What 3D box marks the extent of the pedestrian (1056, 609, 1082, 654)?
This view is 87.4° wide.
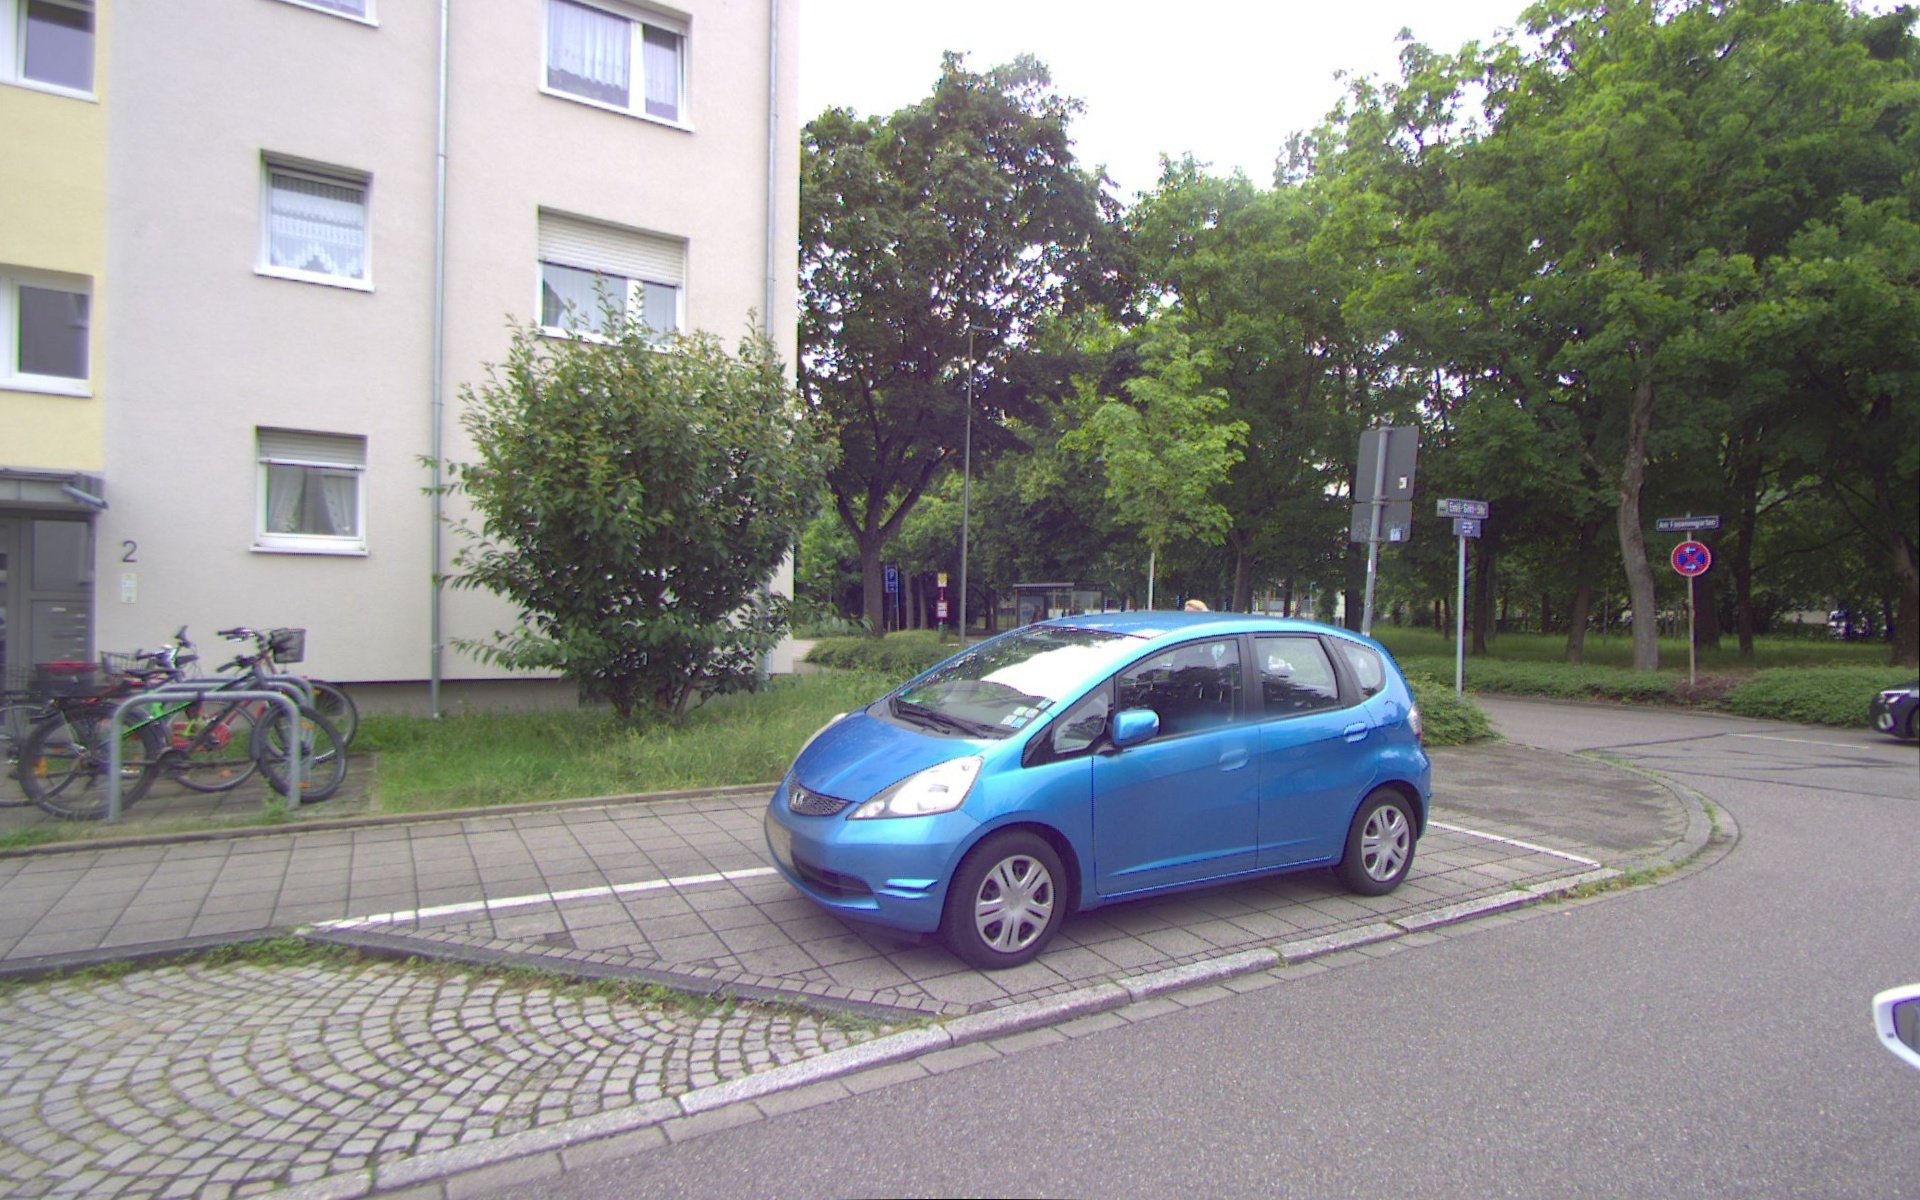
[{"bbox_3d":[3.977,1.133,36.685,0.648,1.604,0.693,0,0,-29],"label":"pedestrian"}]

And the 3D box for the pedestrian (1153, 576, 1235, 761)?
[{"bbox_3d":[2.042,0.580,8.805,0.556,1.571,0.448,1,2,-2],"label":"pedestrian"}]

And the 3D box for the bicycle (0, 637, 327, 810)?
[{"bbox_3d":[-5.754,0.820,7.081,2.149,1.085,0.654,1,0,-30],"label":"bicycle"}]

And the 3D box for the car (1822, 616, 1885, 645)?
[{"bbox_3d":[52.608,1.815,59.133,3.959,1.639,1.905,1,-1,-34],"label":"car"}]

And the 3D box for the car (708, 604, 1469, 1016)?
[{"bbox_3d":[0.803,0.826,5.520,3.911,1.482,1.721,1,2,-31],"label":"car"}]

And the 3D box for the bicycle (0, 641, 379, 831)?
[{"bbox_3d":[-5.050,0.829,6.619,2.097,1.082,0.654,1,0,-30],"label":"bicycle"}]

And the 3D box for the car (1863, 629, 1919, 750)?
[{"bbox_3d":[13.523,1.131,11.743,1.849,1.482,4.081,1,-1,-31],"label":"car"}]

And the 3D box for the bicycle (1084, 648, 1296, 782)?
[{"bbox_3d":[2.044,1.013,9.017,1.783,1.134,0.537,0,0,-4],"label":"bicycle"}]

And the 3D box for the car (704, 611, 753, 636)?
[{"bbox_3d":[-14.393,1.423,62.260,1.883,1.506,3.967,1,-1,-31],"label":"car"}]

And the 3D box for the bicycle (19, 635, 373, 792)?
[{"bbox_3d":[-5.897,0.831,7.947,2.149,1.085,0.654,1,0,-30],"label":"bicycle"}]
